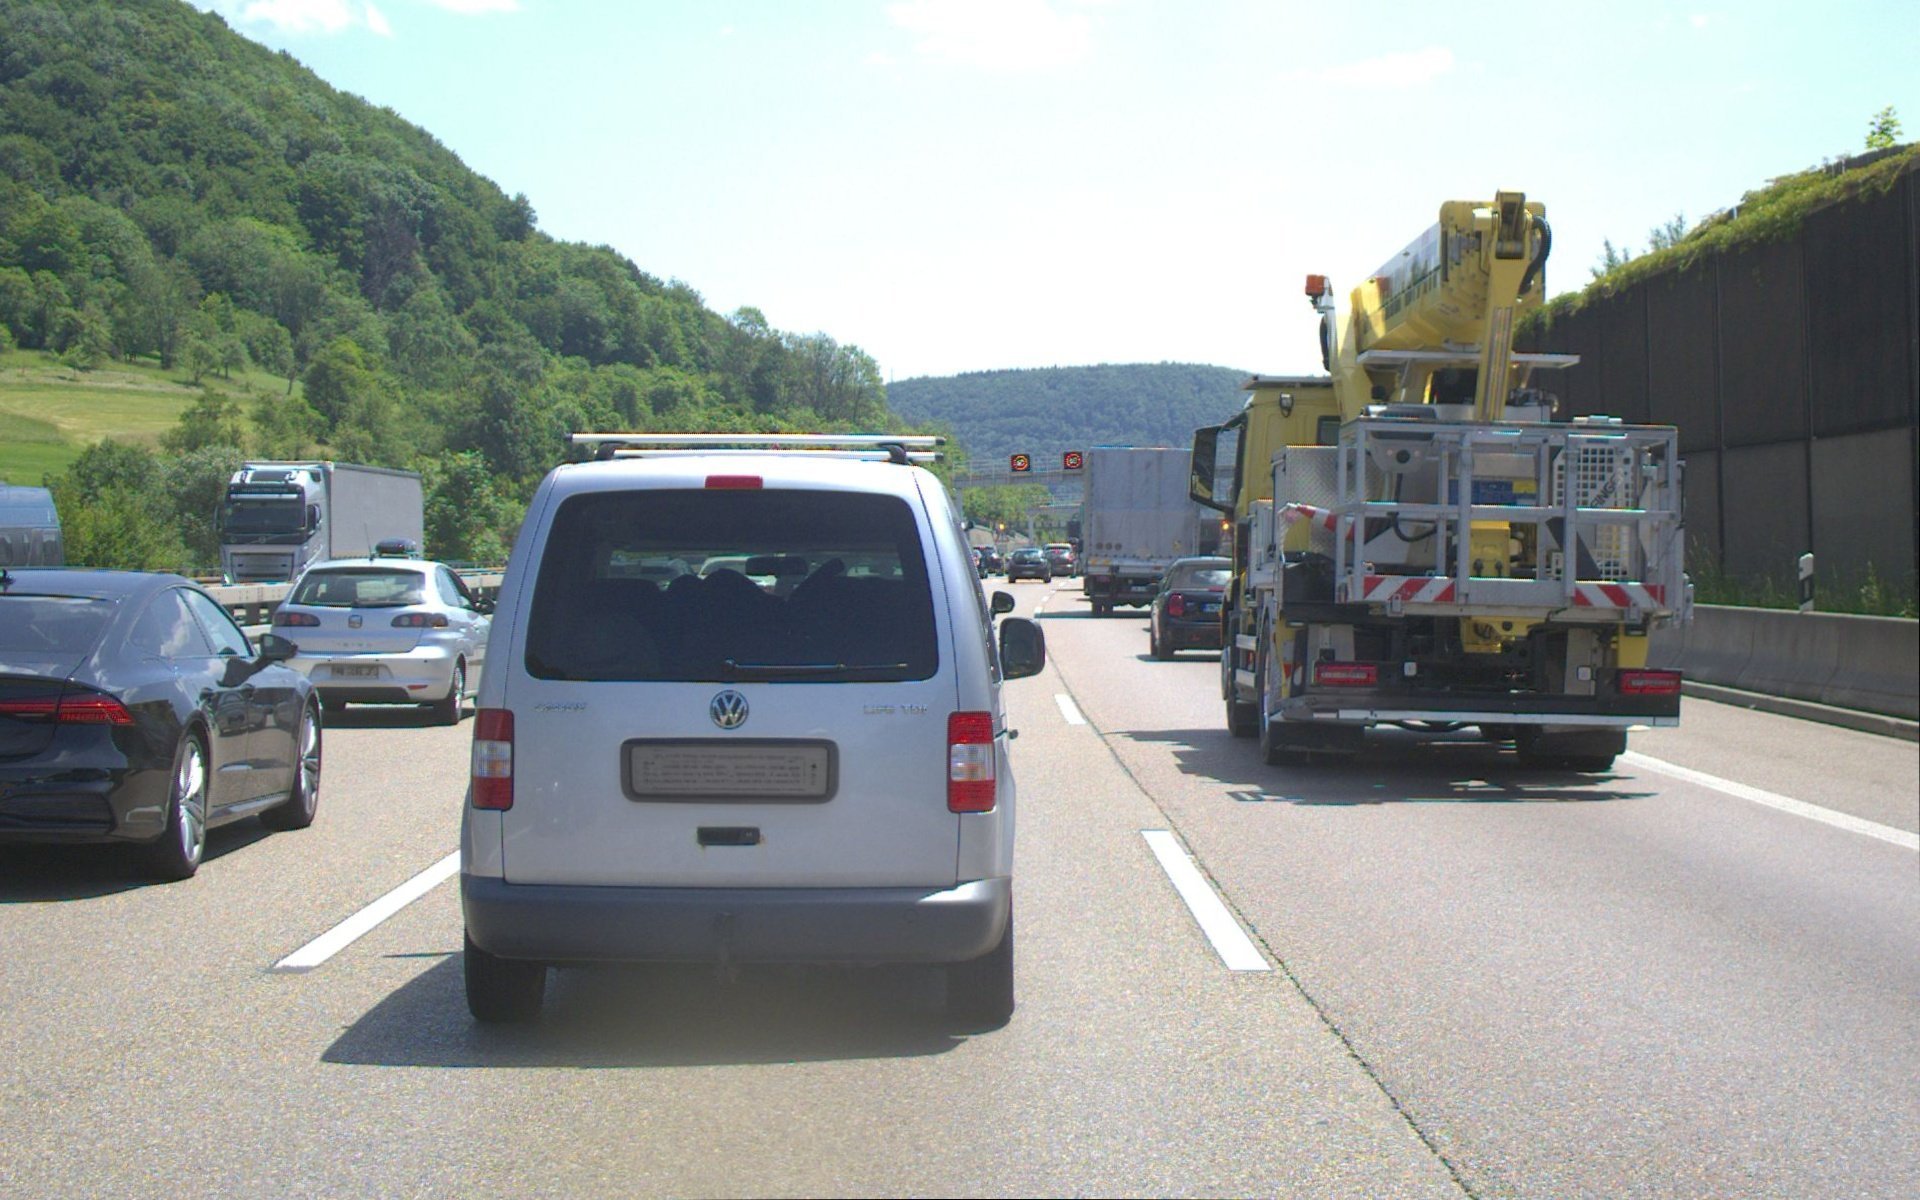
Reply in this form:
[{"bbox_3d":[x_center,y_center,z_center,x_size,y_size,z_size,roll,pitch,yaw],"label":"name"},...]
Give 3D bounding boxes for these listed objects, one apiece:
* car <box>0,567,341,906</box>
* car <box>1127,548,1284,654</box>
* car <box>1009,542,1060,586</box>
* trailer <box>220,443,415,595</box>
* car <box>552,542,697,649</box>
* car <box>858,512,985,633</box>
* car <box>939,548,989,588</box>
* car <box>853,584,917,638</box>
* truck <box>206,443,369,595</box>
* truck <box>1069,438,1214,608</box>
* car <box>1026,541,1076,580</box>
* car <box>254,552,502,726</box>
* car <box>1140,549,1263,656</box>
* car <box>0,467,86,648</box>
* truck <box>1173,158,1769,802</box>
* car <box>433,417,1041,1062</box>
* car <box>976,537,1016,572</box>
[{"bbox_3d":[-4.340,0.545,16.787,1.800,1.385,4.970,0,1,-1],"label":"car"},{"bbox_3d":[3.458,-0.017,49.004,1.786,1.453,3.771,0,1,-3],"label":"car"},{"bbox_3d":[3.063,-1.477,141.224,1.993,1.743,4.000,1,0,0],"label":"car"},{"bbox_3d":[-18.984,-2.310,102.615,3.247,4.190,13.000,1,0,0],"label":"trailer"},{"bbox_3d":[-4.922,-0.095,50.922,1.924,1.494,4.001,1,1,-3],"label":"car"},{"bbox_3d":[-0.679,-0.480,57.796,1.993,1.969,4.001,0,1,-3],"label":"car"},{"bbox_3d":[0.168,-1.502,161.964,2.114,1.821,4.000,1,0,-3],"label":"car"},{"bbox_3d":[-2.565,0.366,118.604,2.114,1.821,4.000,1,0,0],"label":"car"},{"bbox_3d":[-18.967,-2.229,97.407,3.278,4.134,6.955,0,0,0],"label":"truck"},{"bbox_3d":[4.234,-1.768,82.003,2.940,3.810,8.237,1,0,0],"label":"truck"},{"bbox_3d":[4.456,-1.920,168.467,2.114,1.821,4.000,1,0,-3],"label":"car"},{"bbox_3d":[-5.103,0.295,30.553,1.695,1.440,3.862,0,1,-2],"label":"car"},{"bbox_3d":[4.631,0.017,66.487,1.993,2.007,4.000,0,1,-1],"label":"car"},{"bbox_3d":[-16.185,-0.695,56.251,2.155,2.852,6.399,1,0,0],"label":"car"},{"bbox_3d":[3.399,-0.797,25.404,2.703,3.929,8.723,0,1,-3],"label":"truck"},{"bbox_3d":[-0.738,0.373,11.955,1.756,1.861,4.001,0,1,-3],"label":"car"},{"bbox_3d":[1.925,-2.425,184.159,1.993,1.799,4.000,1,0,-2],"label":"car"}]
